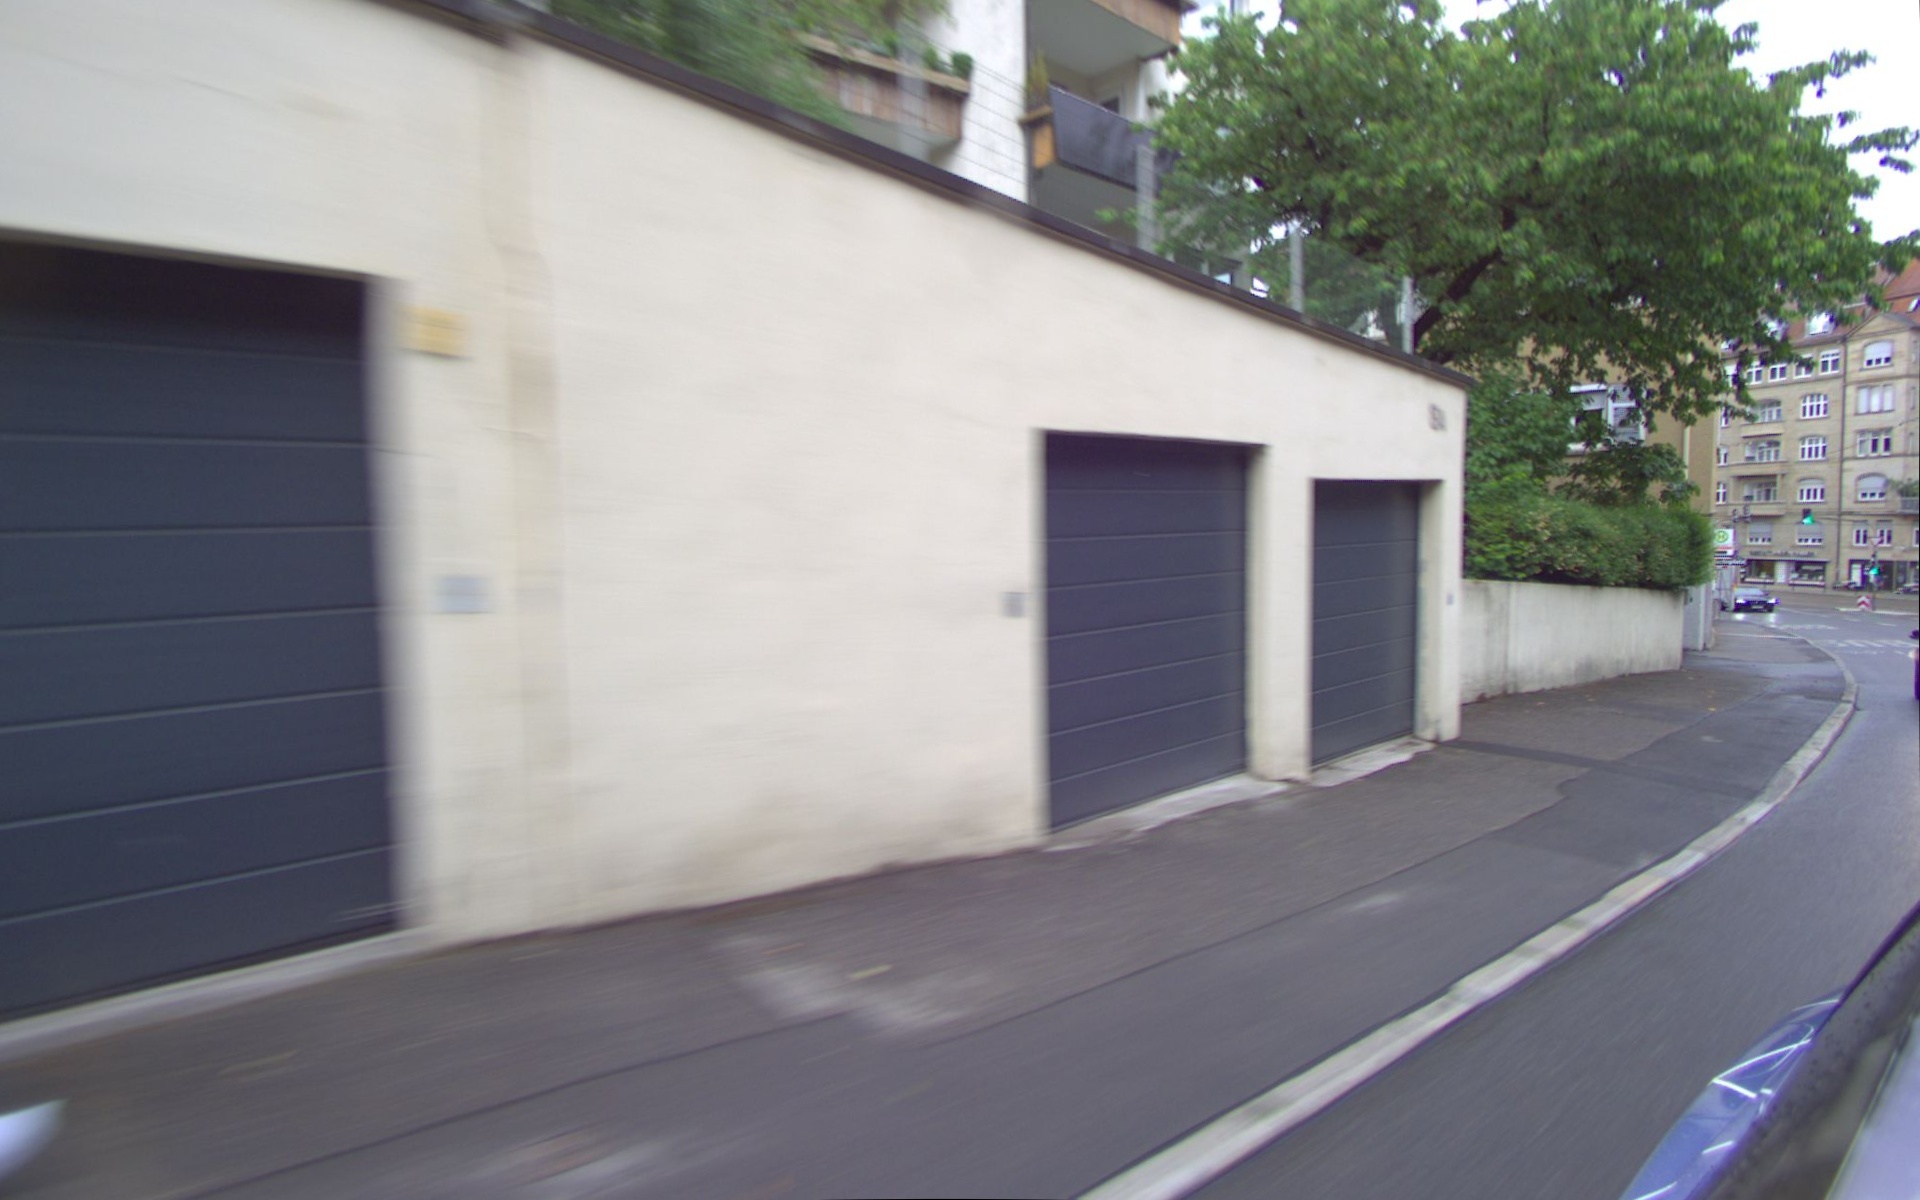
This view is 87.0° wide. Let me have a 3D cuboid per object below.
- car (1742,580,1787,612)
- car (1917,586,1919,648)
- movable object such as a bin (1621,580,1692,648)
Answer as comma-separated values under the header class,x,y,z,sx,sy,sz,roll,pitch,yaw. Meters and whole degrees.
class,x,y,z,sx,sy,sz,roll,pitch,yaw
car,46.089,-0.240,58.009,1.887,1.717,3.947,-1,0,37
car,13.937,0.536,13.351,1.692,1.483,3.941,-2,0,41
movable object such as a bin,15.566,0.306,22.613,1.248,1.474,0.814,0,-1,39
